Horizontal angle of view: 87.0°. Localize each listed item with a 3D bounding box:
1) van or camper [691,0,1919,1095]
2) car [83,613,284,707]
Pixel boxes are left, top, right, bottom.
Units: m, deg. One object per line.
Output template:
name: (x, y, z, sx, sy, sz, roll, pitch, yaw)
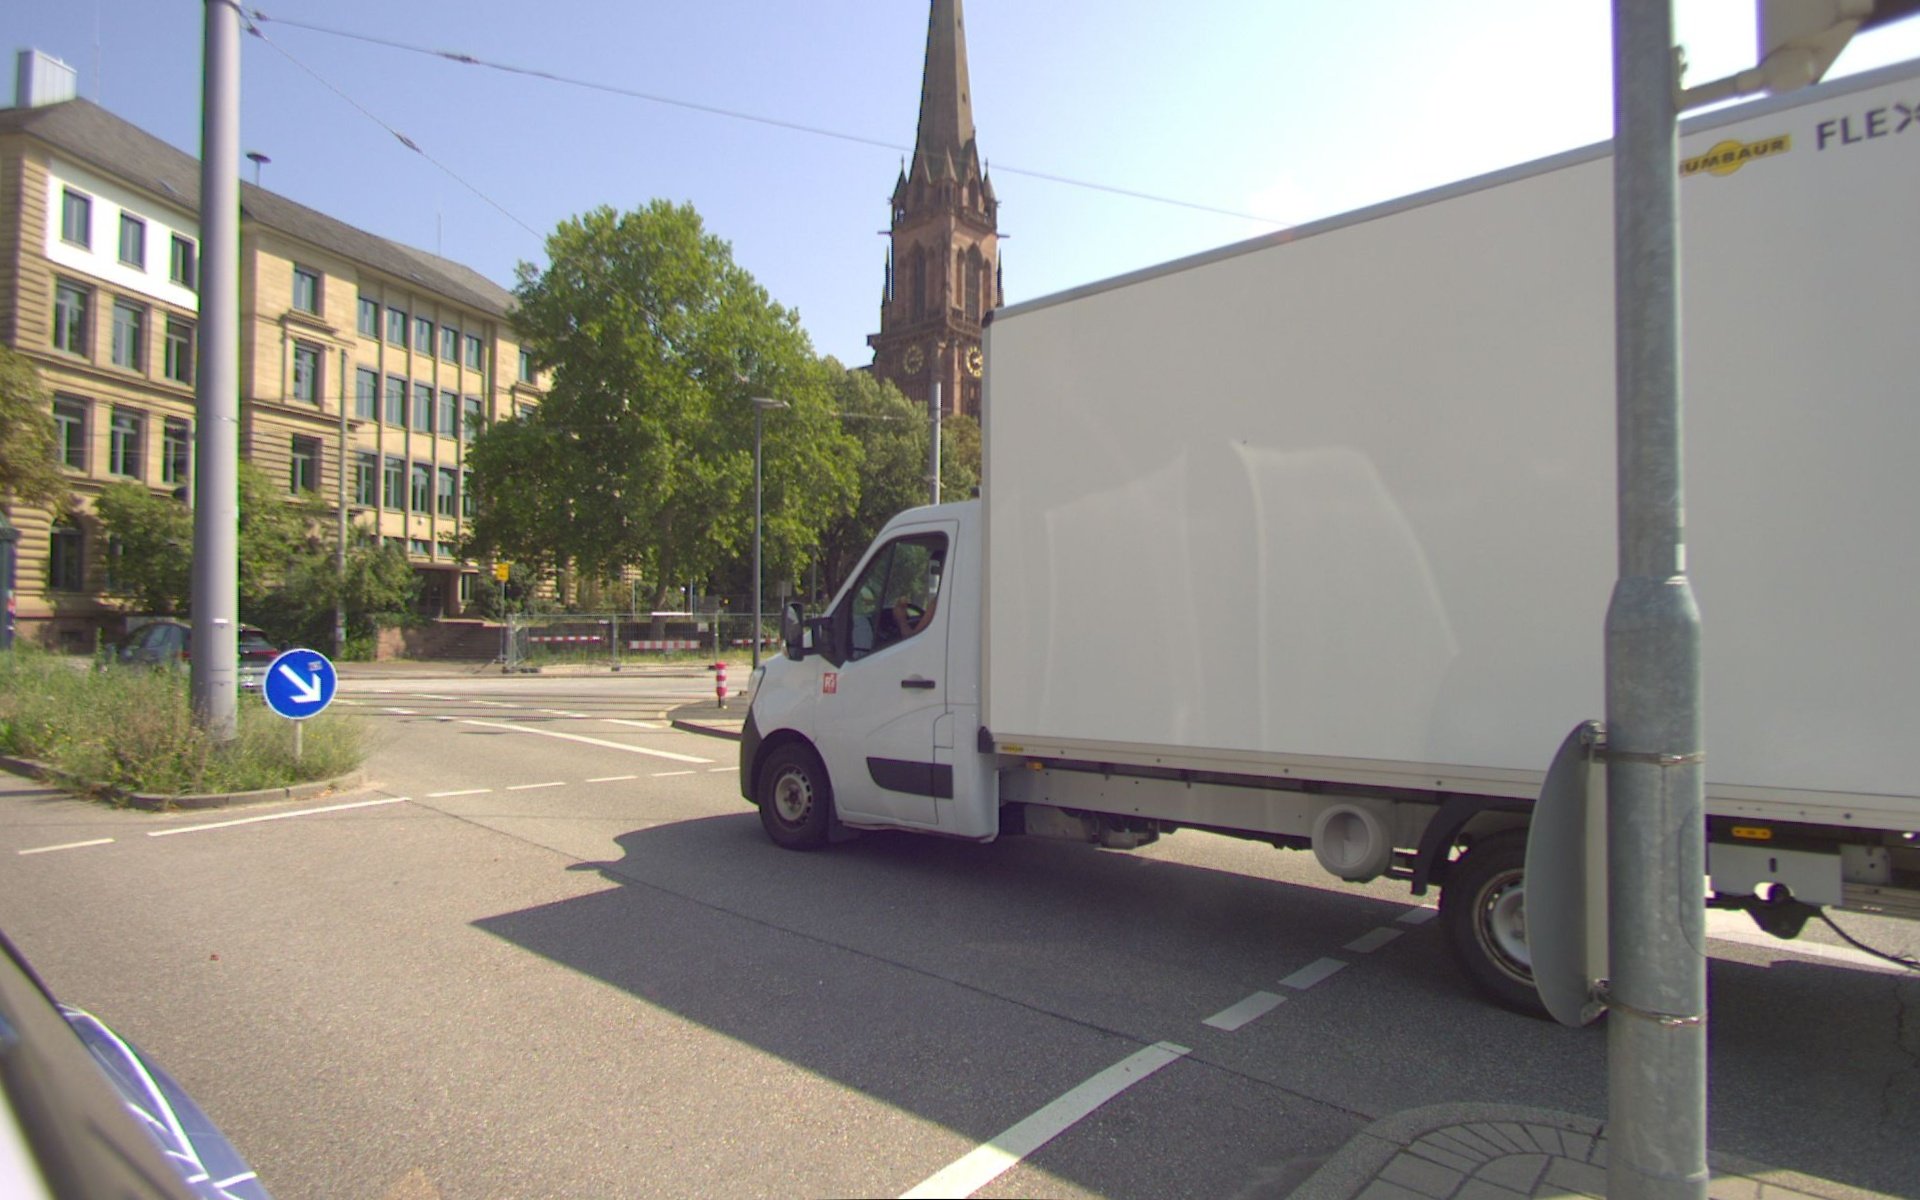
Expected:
van or camper: (1.561, -0.143, 5.698, 7.188, 3.331, 2.374, -2, -3, 42)
car: (-14.215, 1.035, 18.464, 4.172, 1.542, 1.682, -1, -2, 35)
